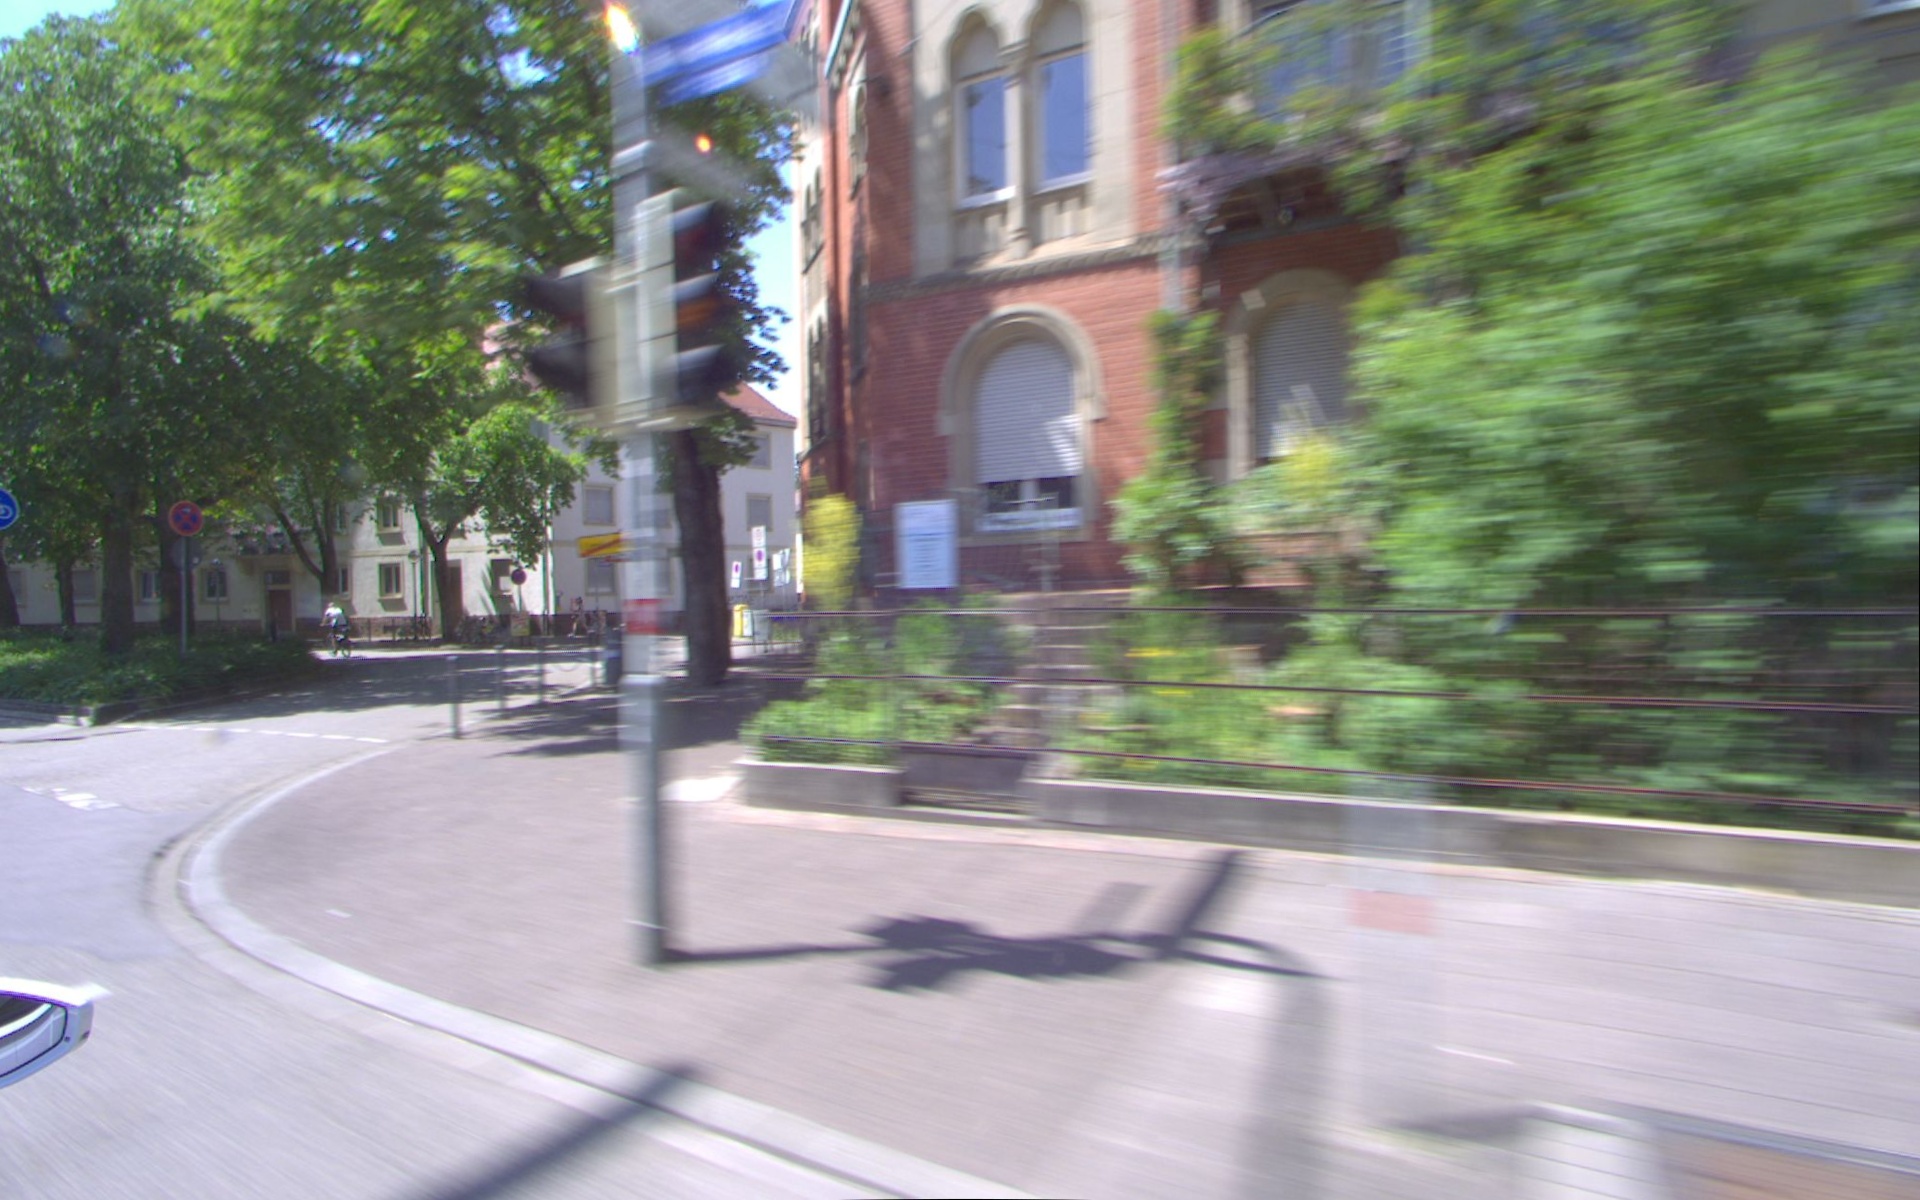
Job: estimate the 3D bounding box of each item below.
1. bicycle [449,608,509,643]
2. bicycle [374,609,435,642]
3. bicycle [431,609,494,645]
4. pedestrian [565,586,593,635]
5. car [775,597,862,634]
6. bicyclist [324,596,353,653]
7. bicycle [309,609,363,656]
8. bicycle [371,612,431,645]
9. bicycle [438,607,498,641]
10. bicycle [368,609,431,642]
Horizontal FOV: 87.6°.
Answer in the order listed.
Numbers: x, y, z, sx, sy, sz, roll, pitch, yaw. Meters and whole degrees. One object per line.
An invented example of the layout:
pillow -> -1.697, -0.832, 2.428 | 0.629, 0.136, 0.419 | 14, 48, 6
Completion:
bicycle -> -19.203, 1.001, 40.047 | 0.540, 1.317, 2.143 | -1, 0, 38
bicycle -> -23.615, 1.064, 42.624 | 0.509, 1.365, 2.228 | -1, 0, 38
bicycle -> -19.187, 1.027, 38.638 | 0.540, 1.317, 2.143 | -1, 0, 38
pedestrian -> -16.099, 0.450, 42.327 | 0.765, 2.040, 0.801 | -1, 0, 42
car -> -5.979, 0.607, 42.173 | 1.710, 1.449, 3.849 | -1, 1, -44
bicyclist -> -20.109, 0.782, 32.417 | 0.526, 1.823, 0.600 | -1, 0, 32
bicycle -> -20.314, 1.048, 32.593 | 2.137, 1.505, 0.590 | -1, 0, 32
bicycle -> -23.432, 1.183, 41.984 | 0.540, 1.317, 2.143 | -1, 0, 38
bicycle -> -19.925, 0.959, 40.561 | 0.540, 1.317, 2.143 | -1, 0, 38
bicycle -> -24.037, 1.075, 42.991 | 0.509, 1.362, 2.312 | -1, 0, 38
